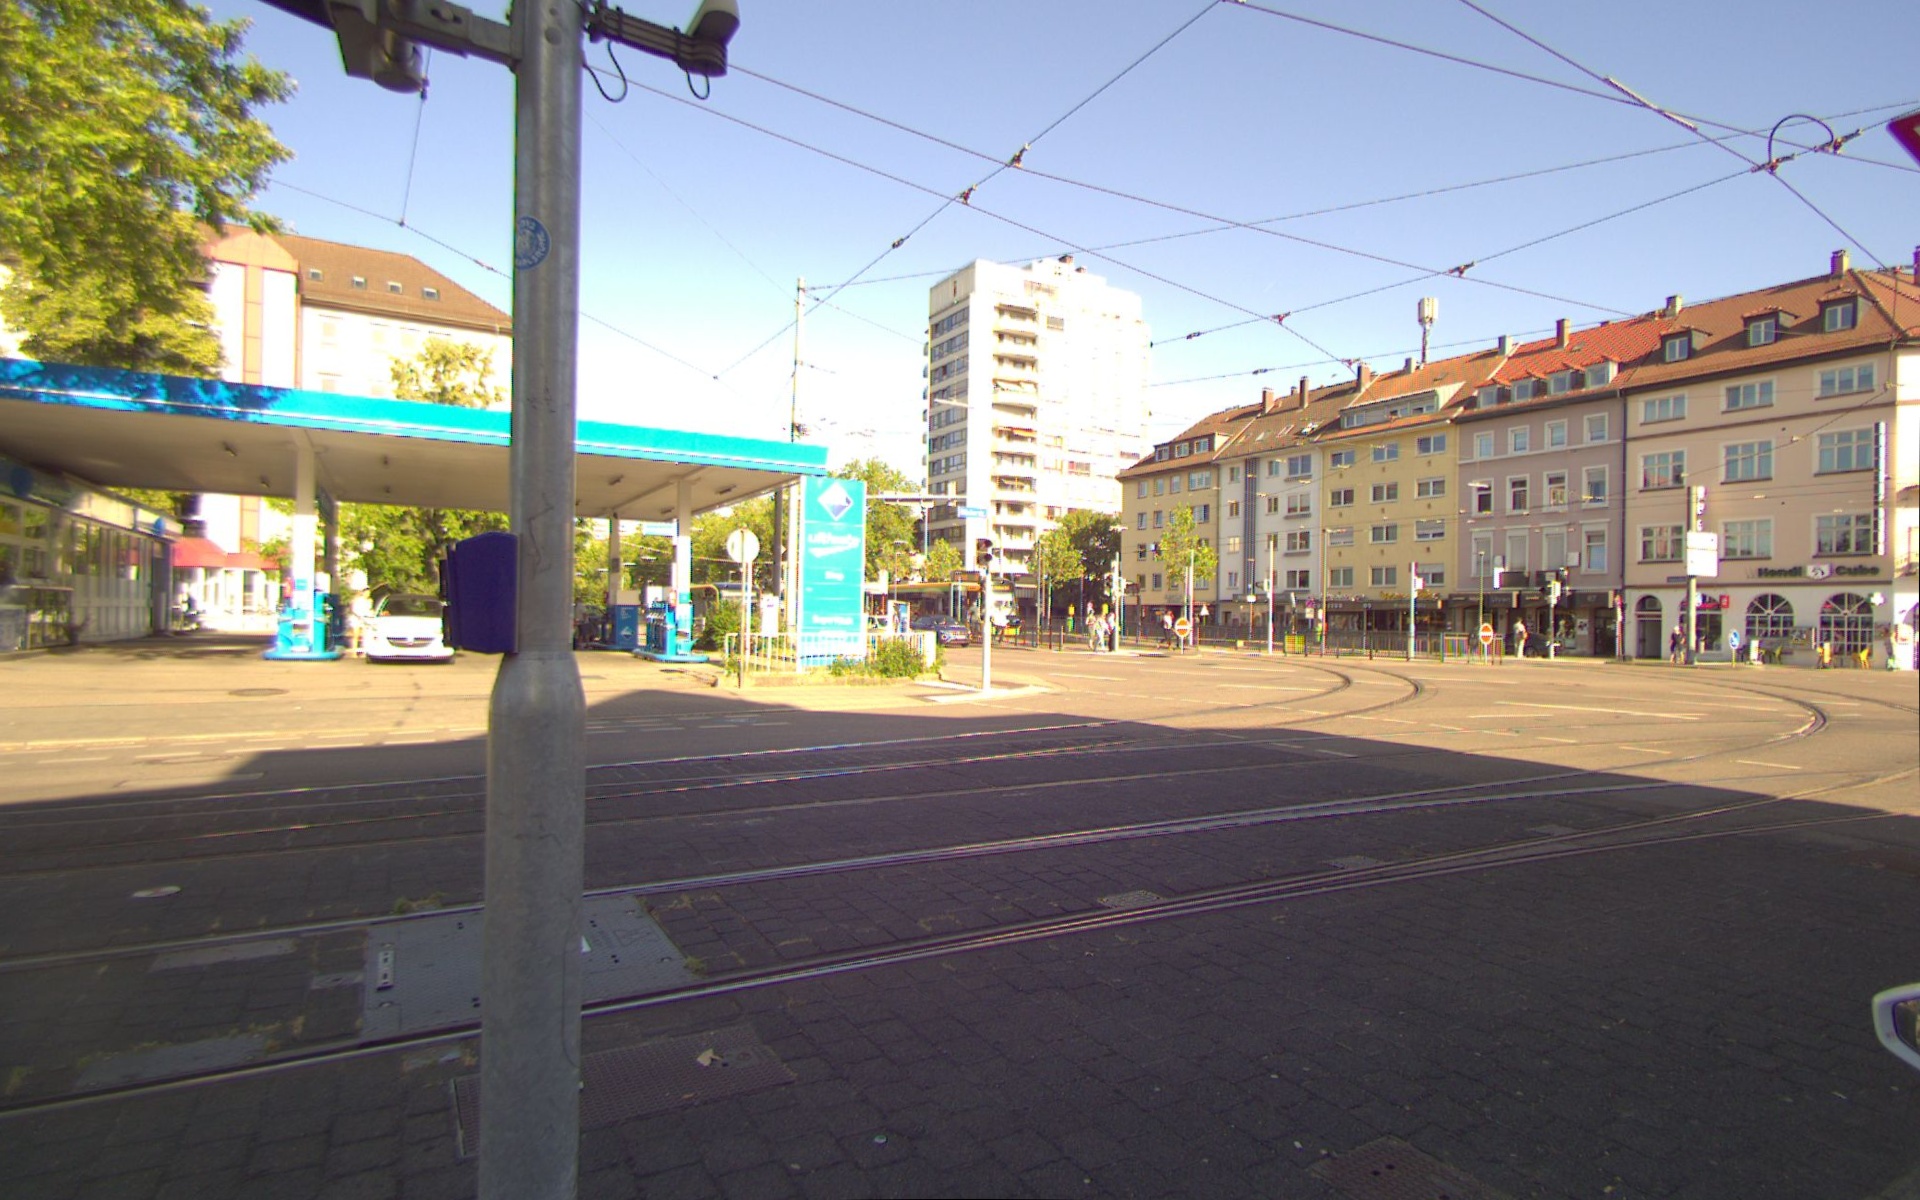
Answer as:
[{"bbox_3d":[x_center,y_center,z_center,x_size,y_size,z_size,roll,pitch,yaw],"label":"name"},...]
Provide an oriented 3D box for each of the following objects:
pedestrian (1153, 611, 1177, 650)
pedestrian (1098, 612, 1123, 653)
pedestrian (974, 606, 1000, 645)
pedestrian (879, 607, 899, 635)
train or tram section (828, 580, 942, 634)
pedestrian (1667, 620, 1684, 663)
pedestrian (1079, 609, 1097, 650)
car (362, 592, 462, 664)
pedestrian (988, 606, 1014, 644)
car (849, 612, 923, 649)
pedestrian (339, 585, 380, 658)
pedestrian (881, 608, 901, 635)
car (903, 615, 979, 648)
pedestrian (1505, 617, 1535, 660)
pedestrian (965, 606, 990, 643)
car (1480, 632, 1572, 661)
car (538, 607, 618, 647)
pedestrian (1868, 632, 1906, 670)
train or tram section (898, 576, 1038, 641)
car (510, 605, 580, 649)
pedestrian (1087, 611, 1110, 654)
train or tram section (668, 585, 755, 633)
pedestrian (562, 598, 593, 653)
[{"bbox_3d":[9.068,1.342,44.435,0.773,1.721,0.692,1,-1,-33],"label":"pedestrian"},{"bbox_3d":[6.140,1.327,41.014,0.701,1.646,0.796,0,-1,41],"label":"pedestrian"},{"bbox_3d":[1.295,1.226,48.414,0.902,1.826,0.887,1,-1,-33],"label":"pedestrian"},{"bbox_3d":[-4.325,1.282,60.880,0.902,1.646,0.887,1,-1,-33],"label":"pedestrian"},{"bbox_3d":[-5.247,0.520,67.586,3.252,3.335,10.157,1,-1,-33],"label":"train or tram section"},{"bbox_3d":[34.214,1.982,48.024,0.498,2.040,0.507,1,-1,-27],"label":"pedestrian"},{"bbox_3d":[5.492,1.251,43.041,0.491,1.721,0.553,1,-1,-32],"label":"pedestrian"},{"bbox_3d":[-12.269,0.606,22.438,1.773,1.461,3.968,2,-1,-30],"label":"car"},{"bbox_3d":[1.974,1.206,48.832,0.902,1.826,0.887,1,-1,-33],"label":"pedestrian"},{"bbox_3d":[-3.503,1.393,46.811,1.976,1.615,3.970,1,-1,-29],"label":"car"},{"bbox_3d":[-13.898,0.504,23.240,0.643,1.652,0.802,1,-1,-44],"label":"pedestrian"},{"bbox_3d":[-4.289,1.313,62.343,0.902,1.646,0.887,1,-1,-33],"label":"pedestrian"},{"bbox_3d":[-0.955,1.491,48.353,1.937,1.475,4.077,1,0,-30],"label":"car"},{"bbox_3d":[24.499,1.694,43.959,0.801,1.842,0.871,1,-1,-29],"label":"pedestrian"},{"bbox_3d":[0.901,1.224,50.775,0.902,1.826,0.887,1,-1,-33],"label":"pedestrian"},{"bbox_3d":[30.779,2.495,54.718,1.980,1.483,3.962,1,-1,-34],"label":"car"},{"bbox_3d":[-17.200,1.212,45.387,1.960,1.685,4.001,1,-1,2],"label":"car"},{"bbox_3d":[40.078,2.191,43.456,1.050,1.612,1.039,0,-1,34],"label":"pedestrian"},{"bbox_3d":[0.234,0.517,58.968,3.252,3.459,10.157,1,-1,-33],"label":"train or tram section"},{"bbox_3d":[-13.499,0.864,32.582,1.752,1.332,3.520,1,-1,-28],"label":"car"},{"bbox_3d":[5.559,1.300,40.217,0.549,1.721,0.740,1,-1,-33],"label":"pedestrian"},{"bbox_3d":[-15.027,0.452,60.044,2.233,2.627,10.398,2,0,-30],"label":"train or tram section"},{"bbox_3d":[-12.898,0.861,33.931,0.897,1.826,0.892,1,-1,-18],"label":"pedestrian"}]
